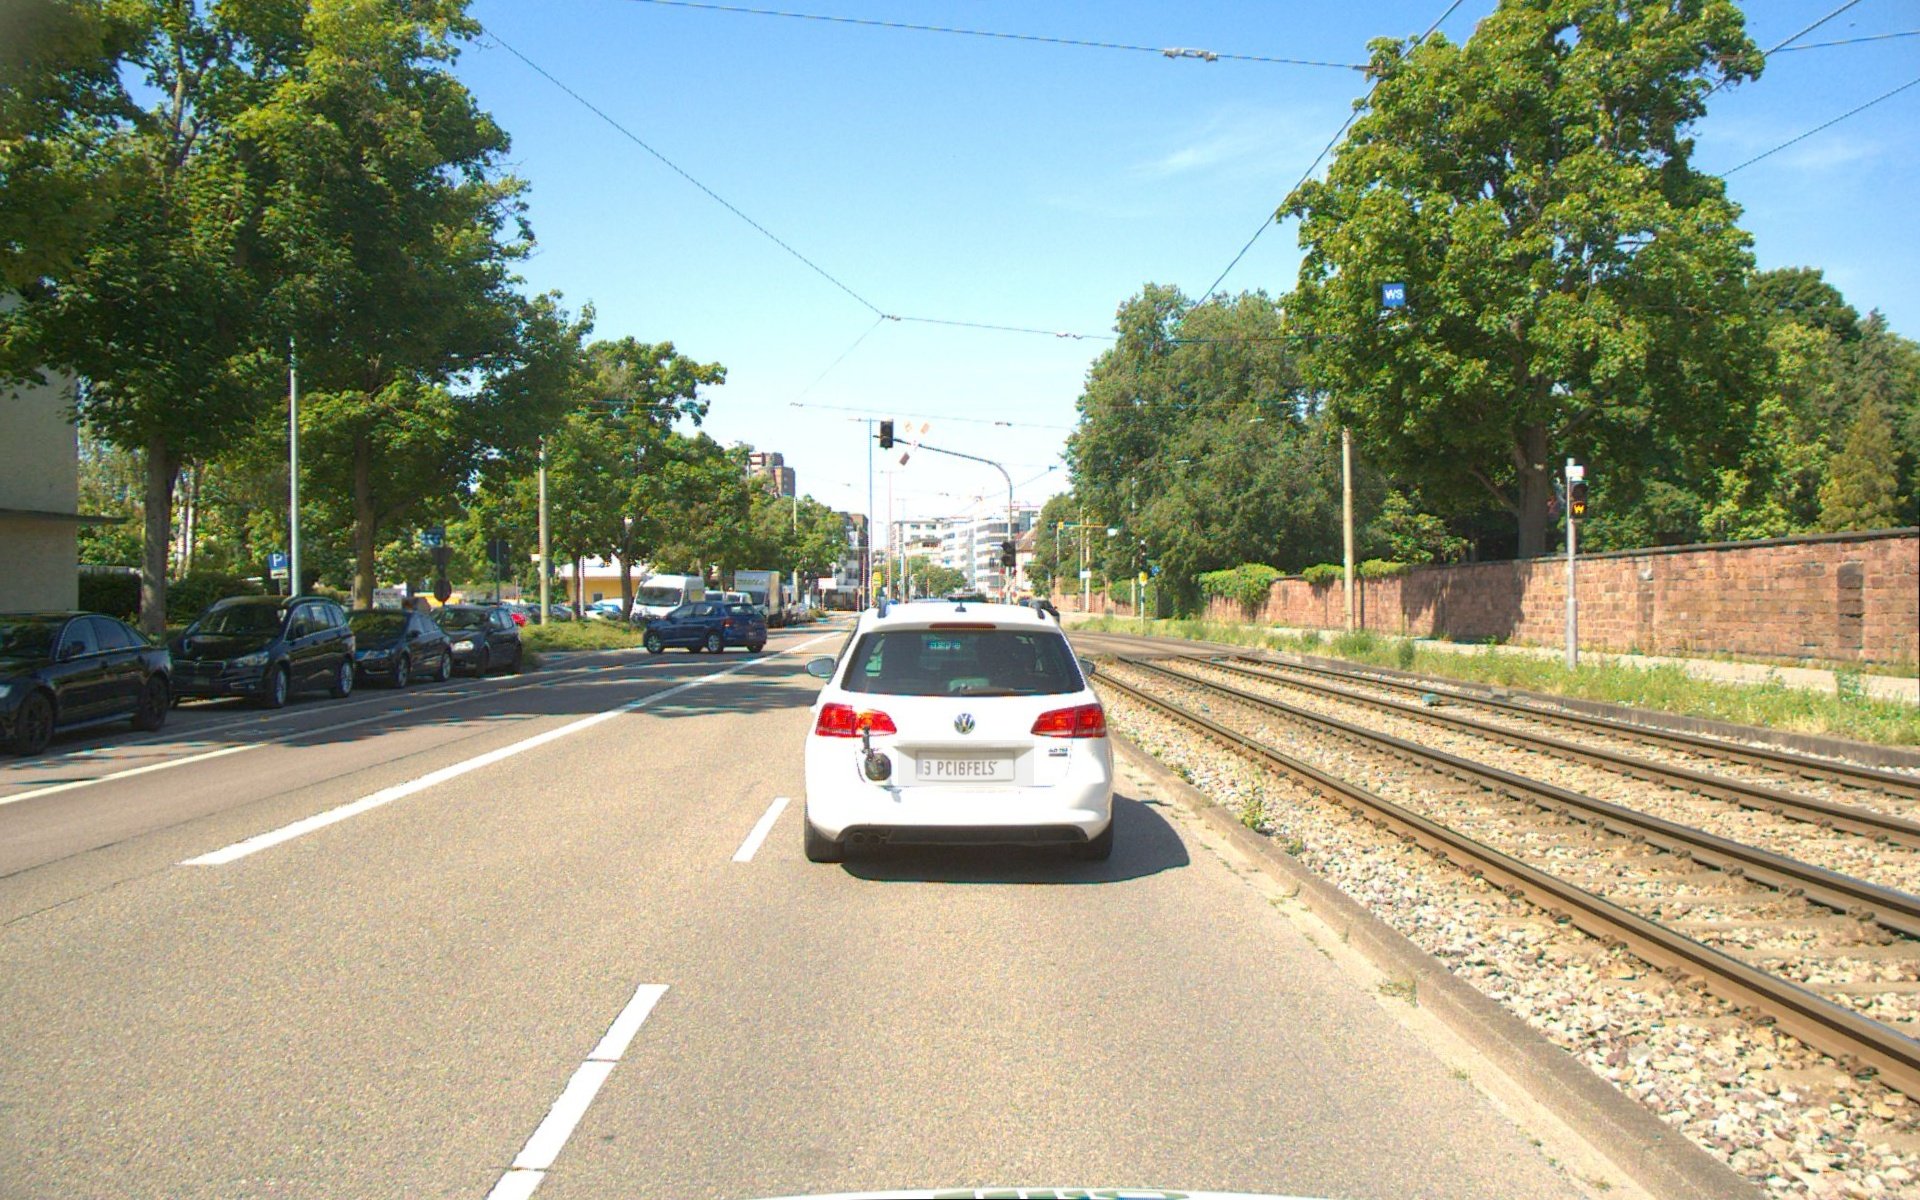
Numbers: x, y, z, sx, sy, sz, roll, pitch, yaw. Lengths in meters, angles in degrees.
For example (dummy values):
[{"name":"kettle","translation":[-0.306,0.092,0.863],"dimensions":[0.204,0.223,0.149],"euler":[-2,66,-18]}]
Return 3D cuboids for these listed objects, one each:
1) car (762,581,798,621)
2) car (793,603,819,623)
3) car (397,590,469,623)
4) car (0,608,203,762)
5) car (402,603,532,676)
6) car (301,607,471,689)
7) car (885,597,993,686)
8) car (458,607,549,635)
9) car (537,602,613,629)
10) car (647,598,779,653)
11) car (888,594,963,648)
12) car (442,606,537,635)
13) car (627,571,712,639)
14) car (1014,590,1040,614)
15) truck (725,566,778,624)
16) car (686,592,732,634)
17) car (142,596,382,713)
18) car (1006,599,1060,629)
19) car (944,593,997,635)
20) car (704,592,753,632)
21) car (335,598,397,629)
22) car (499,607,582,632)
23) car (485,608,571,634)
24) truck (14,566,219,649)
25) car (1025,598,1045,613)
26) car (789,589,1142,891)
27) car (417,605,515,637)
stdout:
[{"name":"car","translation":[-11.909,0.042,109.714],"dimensions":[1.806,2.538,5.856],"euler":[-1,0,0]},{"name":"car","translation":[-12.112,1.020,130.149],"dimensions":[1.744,1.458,4.037],"euler":[-1,0,-1]},{"name":"car","translation":[-35.127,0.460,110.293],"dimensions":[4.176,2.049,1.997],"euler":[2,-1,-7]},{"name":"car","translation":[-10.465,0.860,18.756],"dimensions":[1.804,1.491,4.906],"euler":[0,0,-4]},{"name":"car","translation":[-10.757,0.820,36.351],"dimensions":[1.608,1.476,4.004],"euler":[2,0,0]},{"name":"car","translation":[-10.834,0.851,31.578],"dimensions":[1.656,1.404,4.781],"euler":[0,0,-1]},{"name":"car","translation":[-0.380,0.669,28.726],"dimensions":[1.710,1.412,3.912],"euler":[1,0,-1]},{"name":"car","translation":[-22.138,1.012,80.292],"dimensions":[3.904,1.246,1.772],"euler":[-1,0,2]},{"name":"car","translation":[-22.096,0.898,95.004],"dimensions":[3.904,1.469,1.772],"euler":[-1,0,2]},{"name":"car","translation":[-6.977,0.694,46.481],"dimensions":[3.848,1.432,1.739],"euler":[1,0,45]},{"name":"car","translation":[-0.941,0.577,47.447],"dimensions":[1.822,1.441,4.326],"euler":[2,0,3]},{"name":"car","translation":[-22.119,0.975,77.818],"dimensions":[3.904,1.286,1.772],"euler":[-1,0,2]},{"name":"car","translation":[-11.541,0.176,66.186],"dimensions":[2.016,2.544,6.308],"euler":[2,0,2]},{"name":"car","translation":[7.133,0.242,177.380],"dimensions":[2.413,2.542,5.908],"euler":[2,-1,-1]},{"name":"truck","translation":[-11.842,-0.283,94.593],"dimensions":[2.309,3.177,6.889],"euler":[-1,0,-2]},{"name":"car","translation":[-12.101,0.600,80.068],"dimensions":[1.807,1.971,5.189],"euler":[-1,0,-5]},{"name":"car","translation":[-10.655,0.757,25.669],"dimensions":[1.726,1.634,4.892],"euler":[0,0,-1]},{"name":"car","translation":[3.634,0.690,82.138],"dimensions":[1.709,1.432,3.915],"euler":[2,0,17]},{"name":"car","translation":[0.433,0.528,64.583],"dimensions":[1.822,1.539,3.914],"euler":[2,0,3]},{"name":"car","translation":[-11.907,0.595,85.464],"dimensions":[1.806,1.995,5.133],"euler":[-1,0,0]},{"name":"car","translation":[-37.742,0.871,105.082],"dimensions":[3.354,1.909,1.551],"euler":[-1,0,-3]},{"name":"car","translation":[-22.136,1.034,87.319],"dimensions":[3.904,1.246,1.772],"euler":[-1,0,2]},{"name":"car","translation":[-22.221,1.065,85.198],"dimensions":[3.904,1.246,1.772],"euler":[-1,0,2]},{"name":"truck","translation":[-34.175,0.306,67.159],"dimensions":[6.999,3.071,2.230],"euler":[2,0,-3]},{"name":"car","translation":[6.991,0.537,154.531],"dimensions":[1.549,1.370,3.453],"euler":[2,-1,-1]},{"name":"car","translation":[-0.024,0.702,10.247],"dimensions":[1.732,1.471,3.912],"euler":[2,0,-2]},{"name":"car","translation":[-22.452,0.943,75.251],"dimensions":[3.904,1.373,1.772],"euler":[-1,0,2]}]
